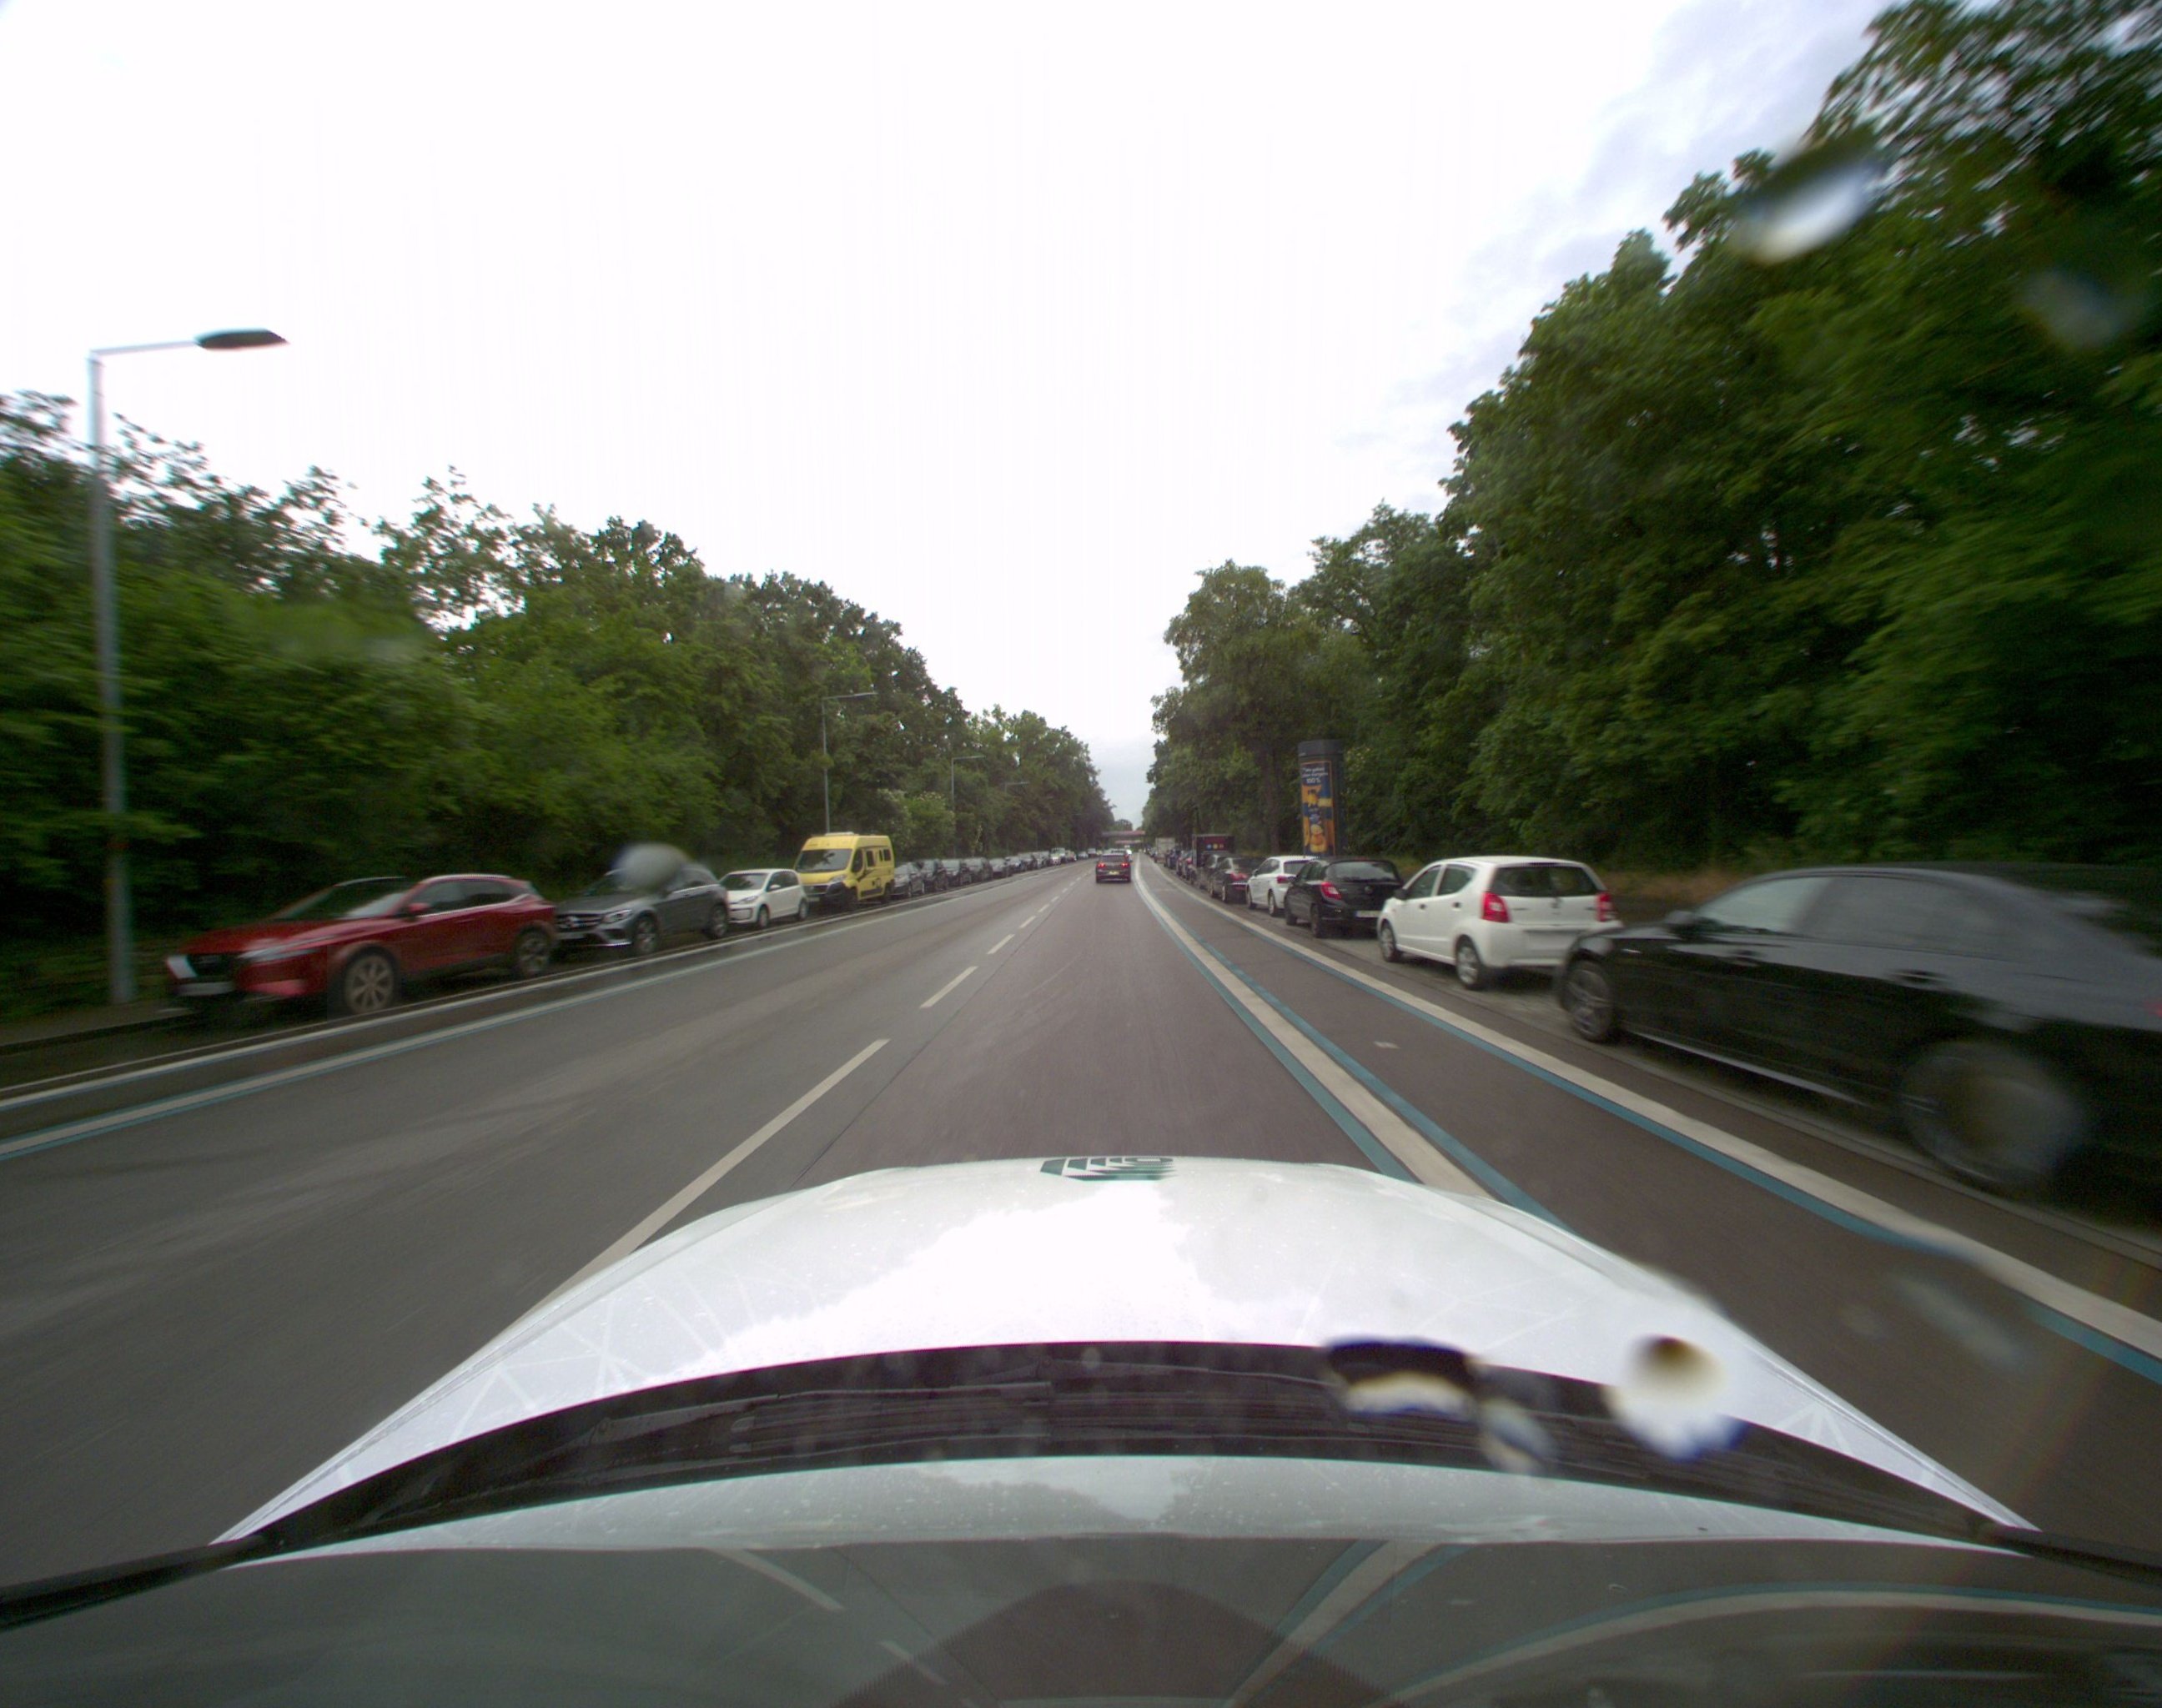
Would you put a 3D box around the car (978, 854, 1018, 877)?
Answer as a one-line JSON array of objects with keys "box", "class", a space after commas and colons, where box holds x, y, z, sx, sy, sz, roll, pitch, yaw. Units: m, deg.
[{"box": [-5.368, 0.716, 53.412, 1.862, 1.304, 4.474, -2, 0, 3], "class": "car"}]

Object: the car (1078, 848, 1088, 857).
[{"box": [0.346, -0.310, 147.065, 1.665, 1.513, 3.633, -1, 1, 3], "class": "car"}]

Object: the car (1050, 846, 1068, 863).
[{"box": [-2.730, 0.003, 102.128, 1.933, 2.013, 4.741, -2, 0, 1], "class": "car"}]

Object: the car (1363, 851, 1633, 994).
[{"box": [4.983, 0.706, 10.328, 1.554, 1.460, 3.676, -1, 0, 0], "class": "car"}]

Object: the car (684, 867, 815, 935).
[{"box": [-8.493, 1.149, 21.210, 1.610, 1.448, 3.661, -3, 0, 4], "class": "car"}]

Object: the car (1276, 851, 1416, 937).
[{"box": [5.022, 0.680, 15.958, 1.652, 1.465, 3.903, 0, 0, 3], "class": "car"}]

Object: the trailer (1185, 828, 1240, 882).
[{"box": [5.858, 0.026, 36.818, 1.898, 2.247, 4.772, -2, 1, 3], "class": "trailer"}]

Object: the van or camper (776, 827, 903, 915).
[{"box": [-8.016, 0.487, 27.706, 2.134, 2.627, 5.689, -2, 0, 4], "class": "van or camper"}]

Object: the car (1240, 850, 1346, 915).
[{"box": [5.258, 0.653, 20.675, 1.613, 1.466, 3.999, -1, 0, -1], "class": "car"}]

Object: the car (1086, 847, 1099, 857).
[{"box": [2.438, -0.423, 171.678, 2.149, 2.013, 5.038, -2, 0, 5], "class": "car"}]

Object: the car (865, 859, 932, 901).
[{"box": [-7.513, 1.007, 33.842, 1.673, 1.498, 4.150, -3, 0, 1], "class": "car"}]

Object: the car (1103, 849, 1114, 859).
[{"box": [4.812, -0.009, 140.803, 1.691, 1.484, 4.039, -3, 1, 4], "class": "car"}]

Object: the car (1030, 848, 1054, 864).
[{"box": [-4.041, 0.172, 85.254, 1.871, 1.561, 4.473, -2, 0, 4], "class": "car"}]

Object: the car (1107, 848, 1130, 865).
[{"box": [3.335, 0.168, 72.628, 1.874, 1.466, 4.000, 0, 1, 1], "class": "car"}]

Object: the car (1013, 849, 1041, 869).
[{"box": [-4.555, 0.415, 68.926, 1.688, 1.584, 4.144, -2, 0, 4], "class": "car"}]

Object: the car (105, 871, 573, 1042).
[{"box": [-9.322, 1.147, 10.924, 1.910, 1.617, 4.495, -3, 0, 4], "class": "car"}]

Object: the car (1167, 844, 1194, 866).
[{"box": [7.384, 0.044, 60.490, 1.675, 1.481, 4.322, -1, 1, 3], "class": "car"}]

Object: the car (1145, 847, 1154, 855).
[{"box": [16.645, -0.702, 198.851, 1.985, 1.772, 4.005, -4, 0, 4], "class": "car"}]

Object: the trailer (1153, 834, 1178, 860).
[{"box": [8.631, -0.746, 83.344, 2.124, 2.560, 4.299, -2, 0, 1], "class": "trailer"}]

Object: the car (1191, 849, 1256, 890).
[{"box": [5.451, 0.536, 31.611, 1.816, 1.485, 4.200, 0, 0, 0], "class": "car"}]

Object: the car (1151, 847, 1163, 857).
[{"box": [12.747, -0.387, 136.353, 1.889, 1.606, 4.005, -2, 0, 4], "class": "car"}]

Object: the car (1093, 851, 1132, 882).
[{"box": [1.569, 0.641, 41.115, 1.864, 1.441, 4.297, -1, -1, 2], "class": "car"}]

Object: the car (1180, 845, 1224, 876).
[{"box": [6.214, 0.317, 42.203, 1.788, 1.450, 4.432, -2, 0, 3], "class": "car"}]

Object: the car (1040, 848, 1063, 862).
[{"box": [-3.291, 0.104, 91.754, 1.985, 1.488, 4.473, -2, 0, 4], "class": "car"}]

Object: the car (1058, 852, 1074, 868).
[{"box": [-2.027, 0.815, 112.706, 1.933, 2.013, 4.741, -2, 0, 1], "class": "car"}]

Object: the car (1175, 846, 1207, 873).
[{"box": [6.427, 0.292, 47.825, 1.608, 1.470, 4.005, -1, 0, 4], "class": "car"}]

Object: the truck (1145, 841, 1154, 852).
[{"box": [17.303, -1.980, 206.423, 2.103, 2.598, 4.306, -2, 0, 4], "class": "truck"}]

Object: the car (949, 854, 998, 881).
[{"box": [-6.347, 0.773, 48.522, 1.984, 1.452, 4.144, -2, 1, 5], "class": "car"}]

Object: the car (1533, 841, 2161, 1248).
[{"box": [4.892, 0.670, 4.878, 1.849, 1.455, 4.753, -1, 0, 2], "class": "car"}]

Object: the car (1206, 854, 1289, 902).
[{"box": [5.146, 0.693, 25.771, 1.746, 1.393, 4.446, 0, 0, 0], "class": "car"}]

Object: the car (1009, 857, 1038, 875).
[{"box": [-4.470, 0.930, 63.909, 1.688, 1.300, 4.197, -2, 0, 4], "class": "car"}]

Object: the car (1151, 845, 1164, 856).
[{"box": [12.329, -0.612, 131.748, 1.889, 1.606, 4.005, -2, 0, 4], "class": "car"}]

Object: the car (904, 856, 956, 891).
[{"box": [-7.100, 0.897, 38.572, 1.595, 1.510, 3.143, -2, 1, 5], "class": "car"}]

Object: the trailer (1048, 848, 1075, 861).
[{"box": [-2.534, 0.074, 107.109, 1.609, 1.628, 3.696, -2, 0, 35], "class": "trailer"}]

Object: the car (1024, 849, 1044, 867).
[{"box": [-4.192, 0.325, 73.382, 1.455, 1.571, 2.986, -2, 0, 2], "class": "car"}]

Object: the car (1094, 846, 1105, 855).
[{"box": [4.504, -0.838, 196.349, 2.149, 2.013, 5.038, -2, 0, 5], "class": "car"}]

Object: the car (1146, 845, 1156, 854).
[{"box": [16.420, -1.081, 191.489, 1.985, 2.013, 4.003, -2, 0, 3], "class": "car"}]

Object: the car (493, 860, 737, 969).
[{"box": [-8.896, 1.050, 16.135, 1.986, 1.700, 4.617, -2, 0, 2], "class": "car"}]

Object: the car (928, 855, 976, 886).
[{"box": [-6.881, 0.840, 43.922, 1.595, 1.510, 3.982, -2, 1, 5], "class": "car"}]
